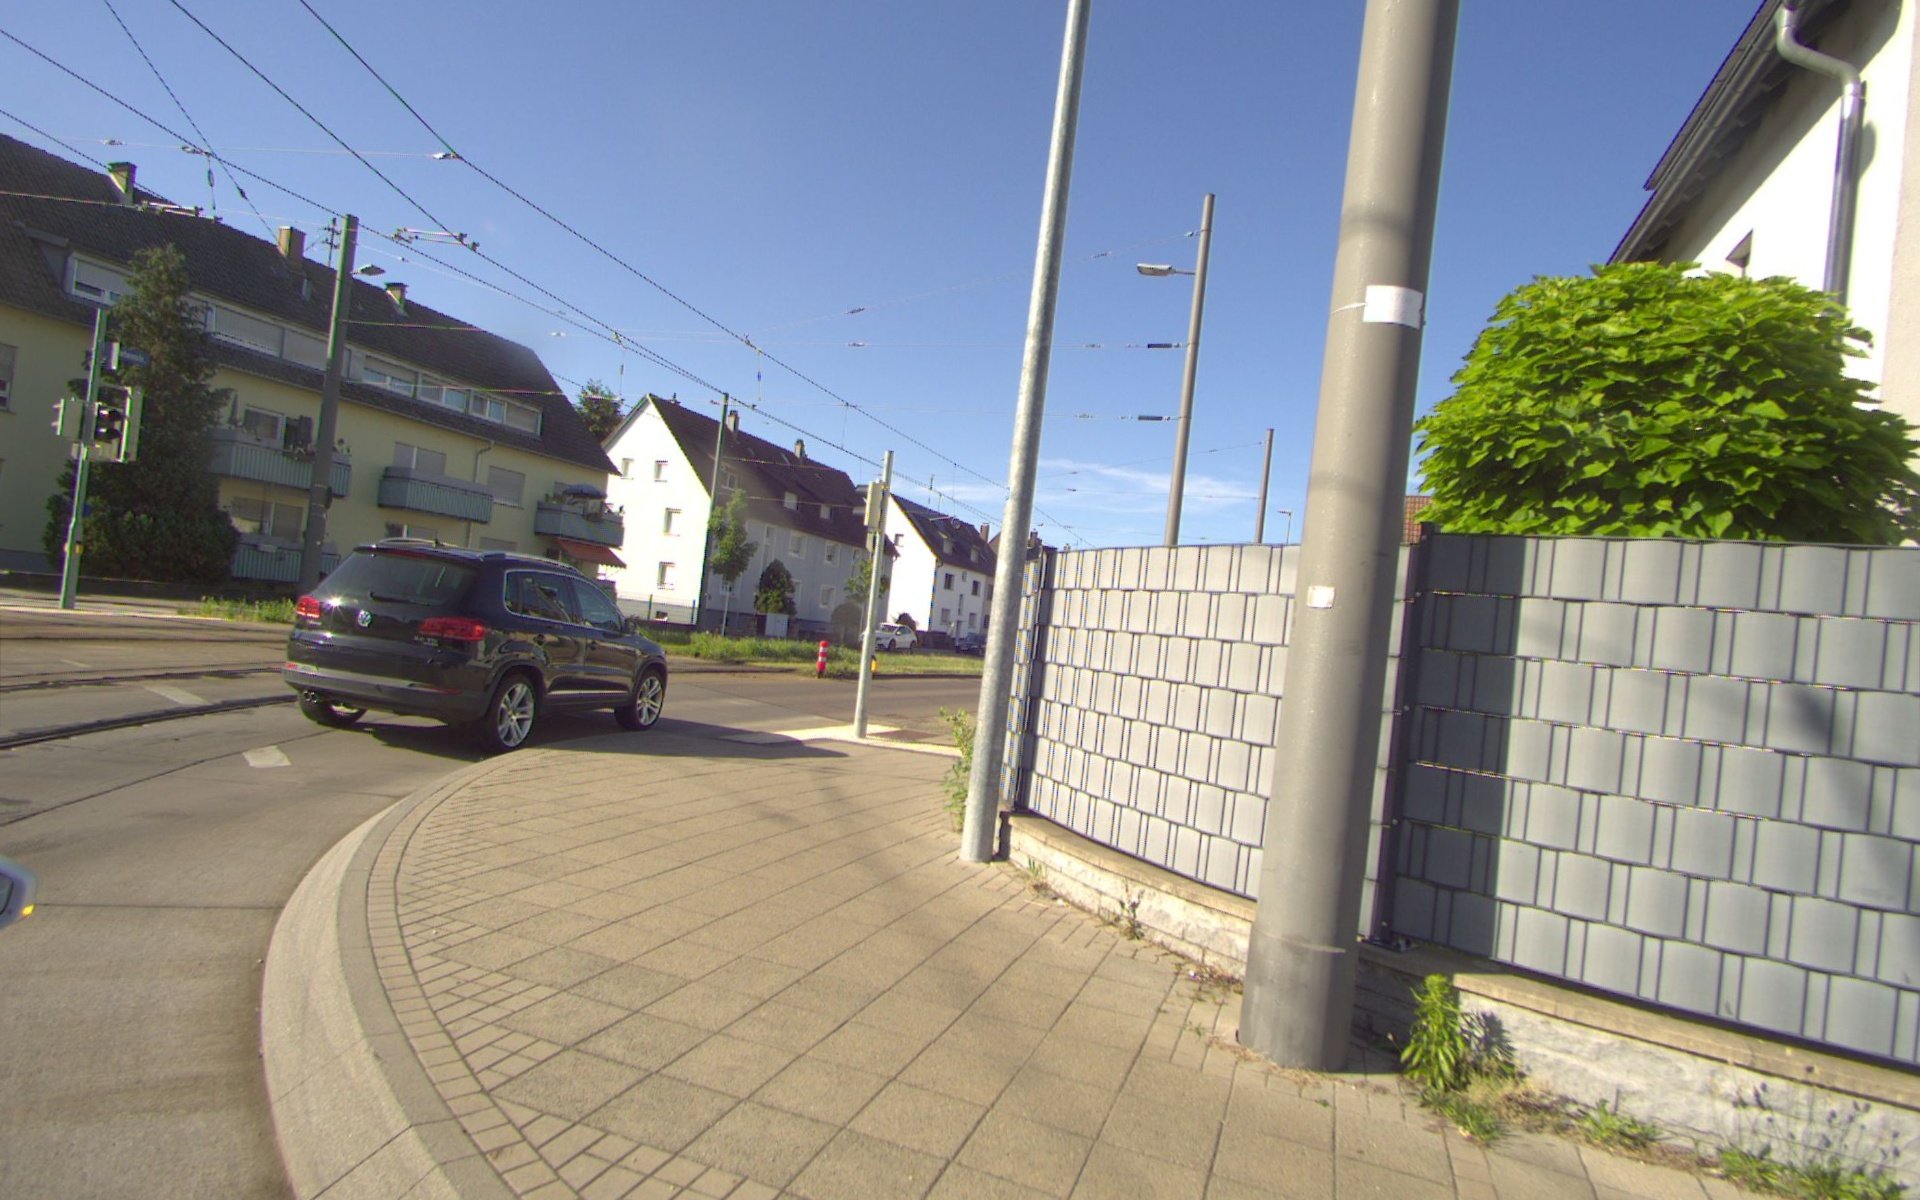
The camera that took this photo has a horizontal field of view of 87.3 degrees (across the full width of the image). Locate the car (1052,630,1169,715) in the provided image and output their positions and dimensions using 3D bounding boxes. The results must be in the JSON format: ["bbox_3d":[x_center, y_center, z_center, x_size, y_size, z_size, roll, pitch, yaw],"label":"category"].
[{"bbox_3d":[4.193,1.958,27.212,1.932,1.858,4.929,6,-2,21],"label":"car"}]

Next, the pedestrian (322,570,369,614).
[{"bbox_3d":[-16.611,-0.207,27.207,0.807,1.076,0.626,8,-2,-12],"label":"pedestrian"}]

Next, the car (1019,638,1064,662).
[{"bbox_3d":[6.466,3.988,79.651,1.849,1.540,4.880,7,-2,25],"label":"car"}]

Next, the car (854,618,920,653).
[{"bbox_3d":[-3.820,1.908,53.248,1.667,1.535,4.215,6,-2,23],"label":"car"}]

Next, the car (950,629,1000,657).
[{"bbox_3d":[1.024,2.845,66.058,1.763,1.480,4.167,6,-2,23],"label":"car"}]

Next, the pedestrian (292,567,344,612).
[{"bbox_3d":[-16.815,-0.267,26.367,0.804,1.058,0.688,6,-2,19],"label":"pedestrian"}]

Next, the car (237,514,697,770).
[{"bbox_3d":[-4.324,0.403,9.759,1.783,1.690,4.262,9,-1,7],"label":"car"}]

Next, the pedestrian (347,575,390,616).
[{"bbox_3d":[-16.352,-0.114,27.842,0.711,1.017,0.595,7,-2,-2],"label":"pedestrian"}]
